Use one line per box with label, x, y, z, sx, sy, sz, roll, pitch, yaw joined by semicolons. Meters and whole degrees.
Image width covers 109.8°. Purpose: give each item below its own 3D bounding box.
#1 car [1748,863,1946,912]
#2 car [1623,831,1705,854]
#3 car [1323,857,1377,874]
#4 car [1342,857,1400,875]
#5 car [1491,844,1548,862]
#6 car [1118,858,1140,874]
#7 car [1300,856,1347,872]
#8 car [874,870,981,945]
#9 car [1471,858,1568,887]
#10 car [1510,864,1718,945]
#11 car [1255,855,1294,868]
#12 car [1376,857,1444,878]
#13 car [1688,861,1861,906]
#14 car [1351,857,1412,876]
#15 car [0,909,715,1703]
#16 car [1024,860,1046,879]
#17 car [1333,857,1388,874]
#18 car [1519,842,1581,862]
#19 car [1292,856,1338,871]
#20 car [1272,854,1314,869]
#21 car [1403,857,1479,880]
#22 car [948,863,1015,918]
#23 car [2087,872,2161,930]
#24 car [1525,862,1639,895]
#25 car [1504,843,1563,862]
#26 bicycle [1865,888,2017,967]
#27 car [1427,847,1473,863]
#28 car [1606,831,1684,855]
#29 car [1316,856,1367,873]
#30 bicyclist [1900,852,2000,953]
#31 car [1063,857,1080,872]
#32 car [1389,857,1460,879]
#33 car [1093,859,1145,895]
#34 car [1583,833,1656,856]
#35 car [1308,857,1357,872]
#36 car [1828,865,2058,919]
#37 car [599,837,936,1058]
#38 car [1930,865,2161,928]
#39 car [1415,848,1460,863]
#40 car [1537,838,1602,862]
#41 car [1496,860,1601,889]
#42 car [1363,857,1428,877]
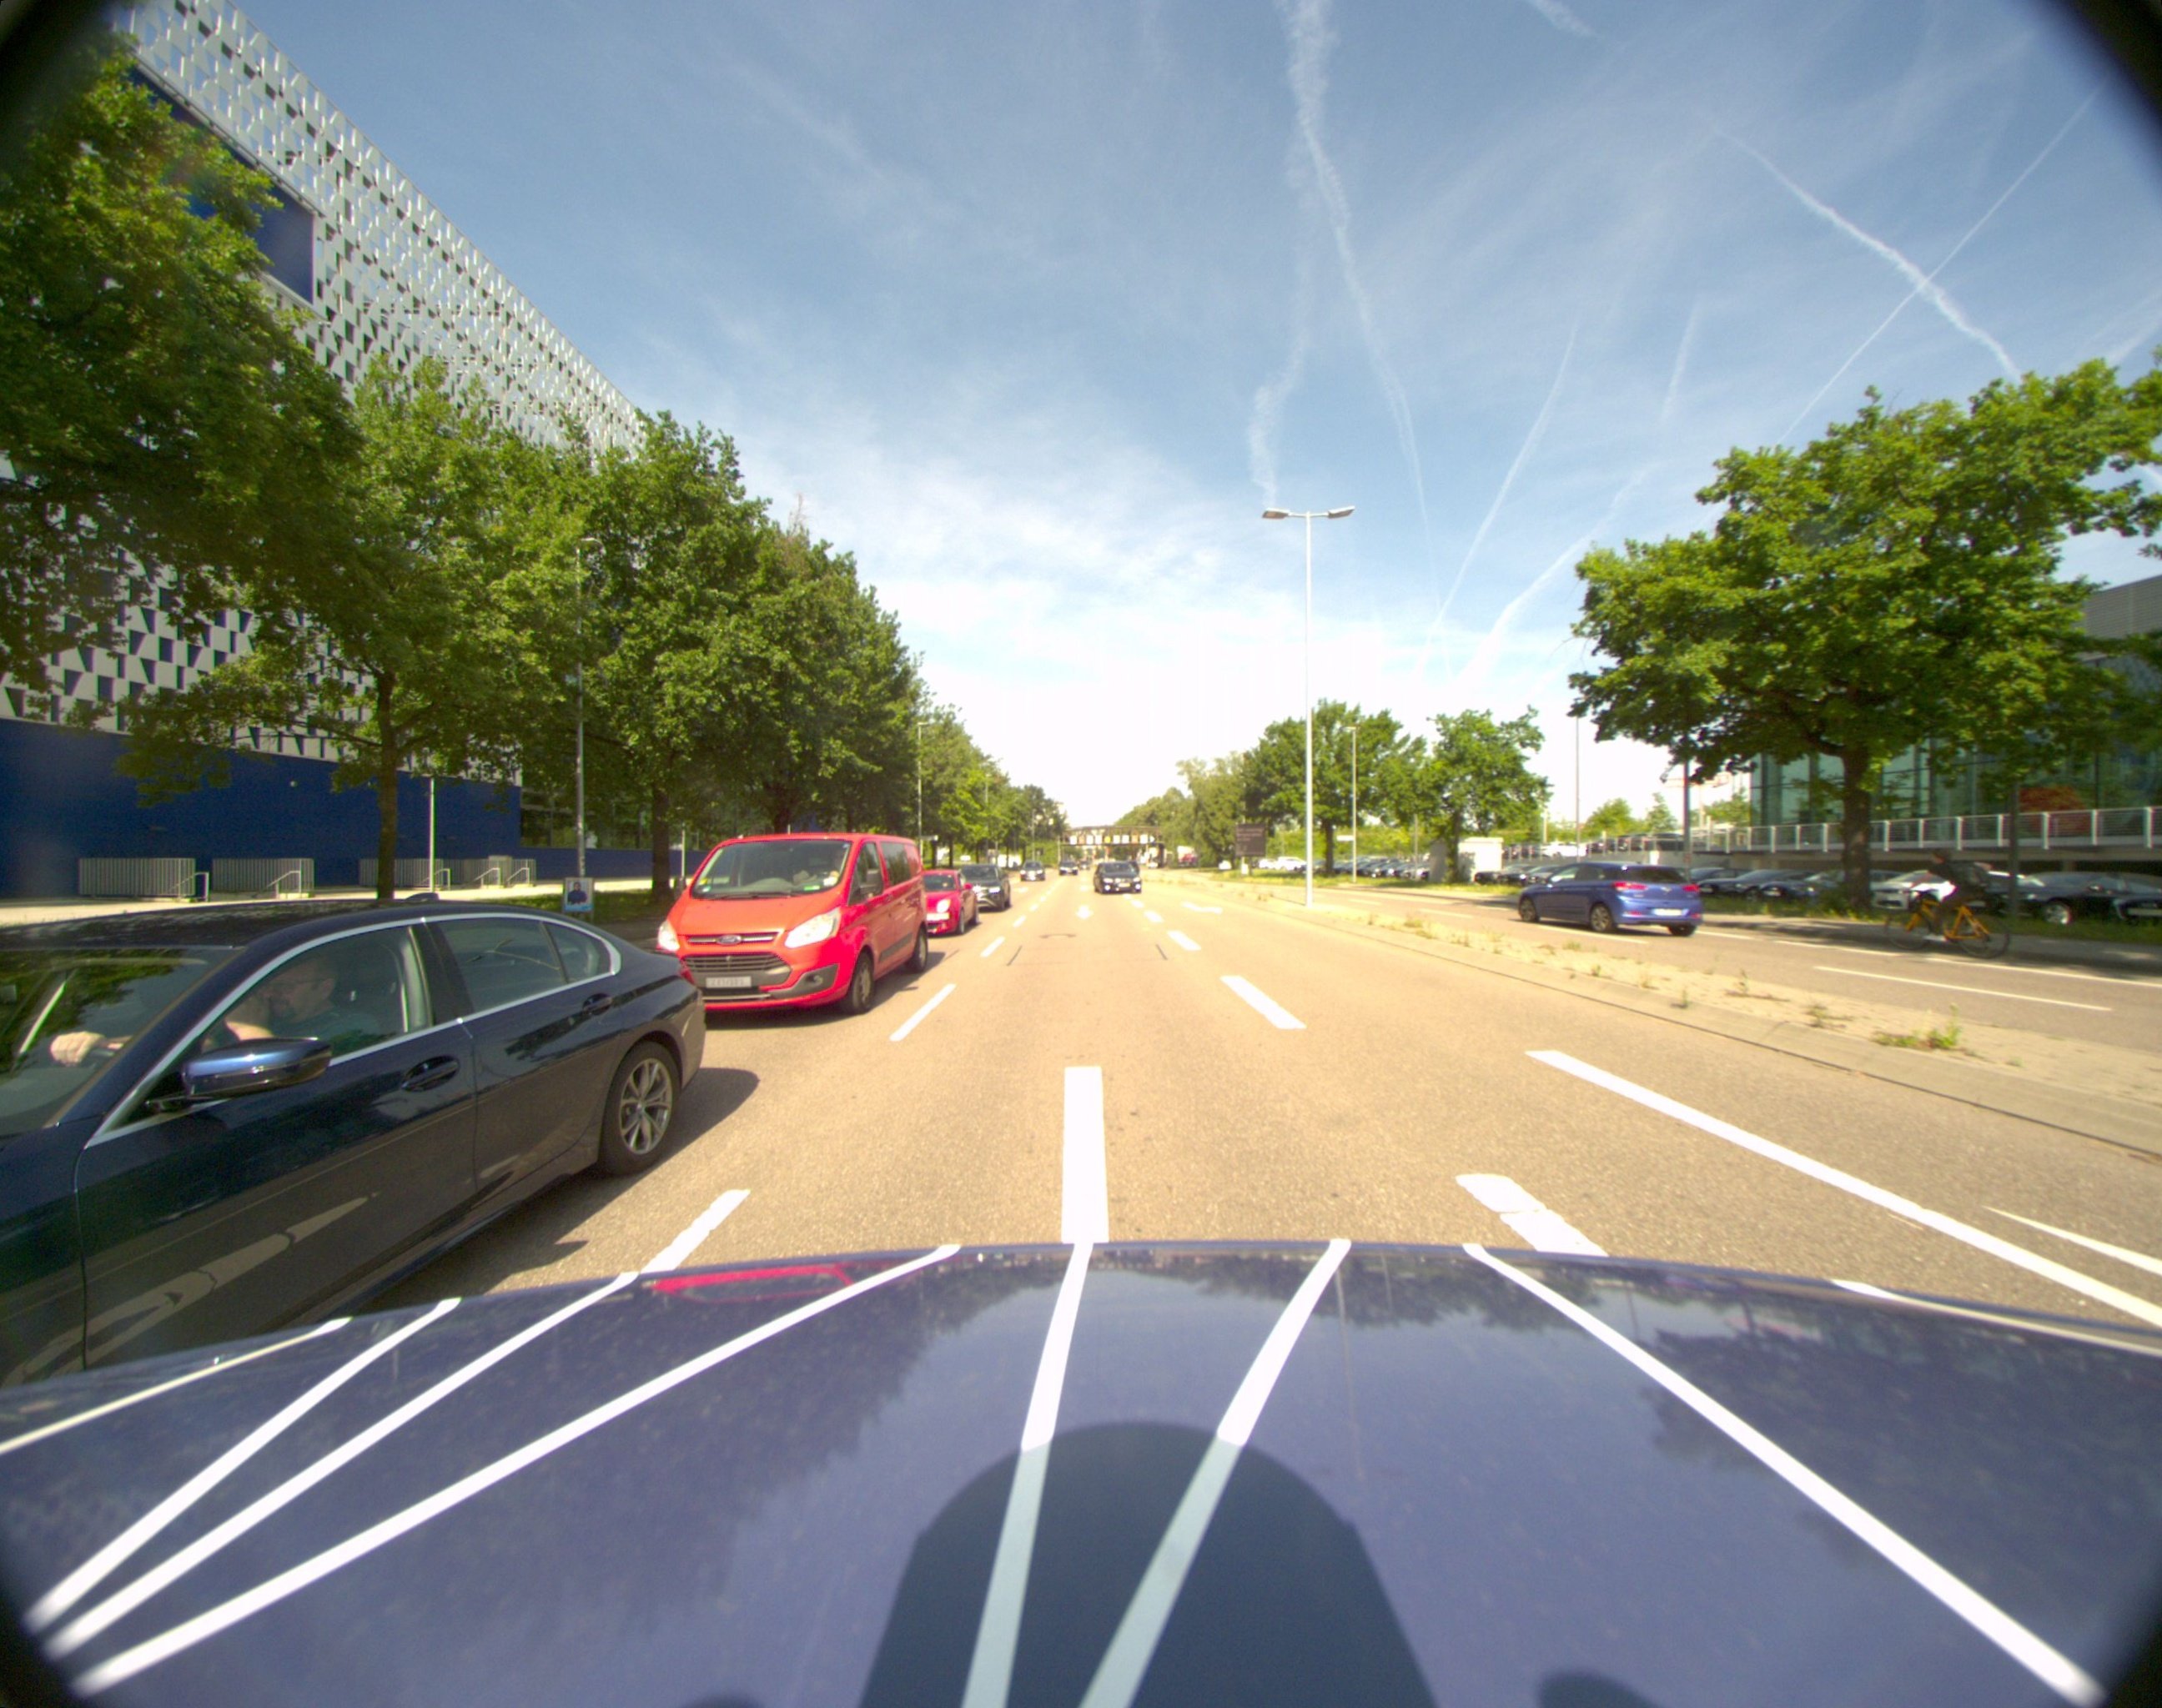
car;23.180;0.989;23.096;4.196;1.198;1.690;3;0;1
car;39.770;-0.776;51.913;4.196;1.397;1.690;3;0;1
car;24.426;1.009;69.069;4.196;1.315;1.690;3;0;1
car;24.193;0.988;63.518;4.196;1.315;1.690;3;0;1
car;40.228;-0.087;69.742;4.196;1.490;1.690;3;0;1
car;4.638;1.161;73.485;1.866;1.503;4.000;0;0;0
car;24.454;1.001;76.802;4.196;1.315;1.690;3;0;1
car;-3.378;1.135;17.422;1.692;1.414;3.915;-1;0;-1
car;23.680;0.990;41.115;4.196;1.315;1.690;3;0;1
car;11.107;0.967;16.204;1.732;1.430;3.870;2;0;1
car;23.628;0.855;92.820;4.196;1.370;1.690;3;0;1
car;23.997;0.988;55.513;4.196;1.315;1.690;3;0;1
car;23.292;0.966;25.621;4.196;1.247;1.690;3;0;1
car;24.095;1.003;60.987;4.196;1.315;1.690;3;0;1
car;-3.136;1.054;2.344;1.800;1.420;4.538;-1;0;0
car;-3.678;1.218;61.070;1.649;1.453;3.999;-2;0;-2
car;24.425;0.984;66.532;4.196;1.315;1.690;3;0;1
car;40.130;-0.150;65.118;4.196;1.490;1.690;3;0;1
car;24.498;0.965;79.593;4.196;1.315;1.690;3;0;1
car;23.654;0.868;85.034;4.196;1.490;1.690;3;0;1
car;24.023;0.968;50.752;4.196;1.315;1.690;3;0;1
car;-3.184;1.120;24.947;1.649;1.530;4.000;-3;0;-1
car;23.538;1.047;15.284;4.196;1.116;1.719;3;0;1
car;23.691;1.129;36.047;4.196;1.317;1.690;3;0;1
car;40.132;-0.131;67.453;4.196;1.490;1.690;3;0;1
bicycle;14.296;1.178;12.714;0.572;1.143;1.770;1;0;3
car;40.381;0.120;83.156;4.196;1.490;1.690;3;0;1
car;40.448;-0.758;54.536;4.196;1.490;1.690;3;0;1
car;24.589;0.991;71.755;4.196;1.315;1.690;3;0;1
bicyclist;14.287;0.770;12.521;0.578;1.587;0.911;1;0;3
car;-1.016;1.123;81.260;1.848;1.530;4.000;0;0;0
car;24.049;0.990;53.298;4.196;1.315;1.690;3;0;1
car;1.684;1.027;35.557;1.883;1.513;4.867;-2;0;-3
car;40.562;-0.723;57.269;4.196;1.490;1.690;3;0;1
car;24.527;1.025;74.302;4.196;1.315;1.690;3;0;1
car;23.282;0.991;20.641;4.196;1.188;1.690;3;0;1
car;-3.238;0.837;9.145;2.014;1.896;4.809;-2;0;0
car;23.368;0.998;18.143;4.196;1.239;1.690;3;0;1
car;40.150;0.132;85.700;4.196;1.490;1.690;3;0;1
car;40.115;-0.301;62.459;4.196;1.722;1.690;3;0;1
car;23.717;1.024;38.646;4.196;1.239;1.690;3;0;1
car;24.147;1.013;58.408;4.196;1.315;1.690;3;0;1
